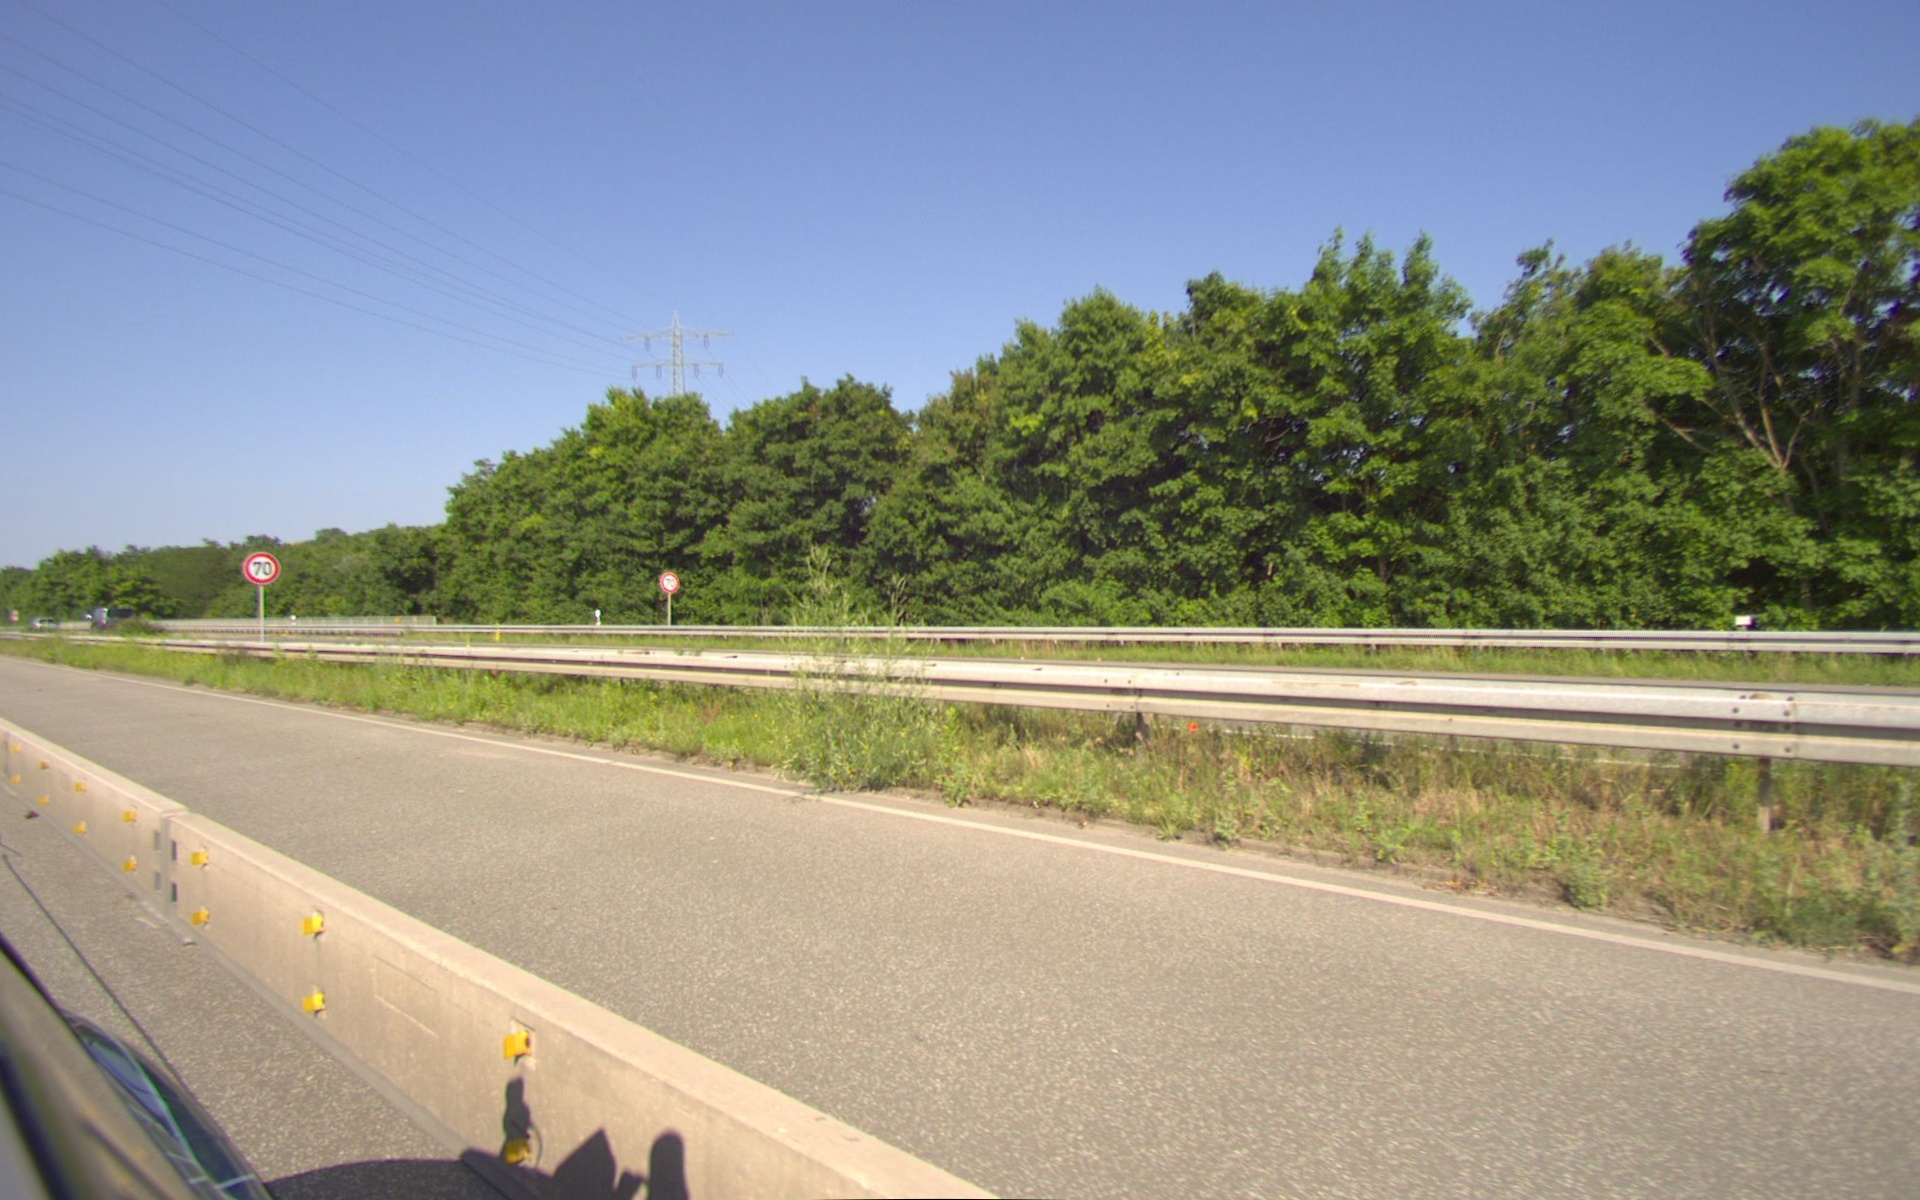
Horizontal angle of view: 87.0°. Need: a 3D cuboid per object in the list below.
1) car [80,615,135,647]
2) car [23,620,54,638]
[{"bbox_3d":[-58.364,2.116,69.259,5.162,2.050,1.974,-2,-1,39],"label":"car"},{"bbox_3d":[-83.756,2.594,91.997,3.816,1.542,1.630,-1,0,41],"label":"car"}]
